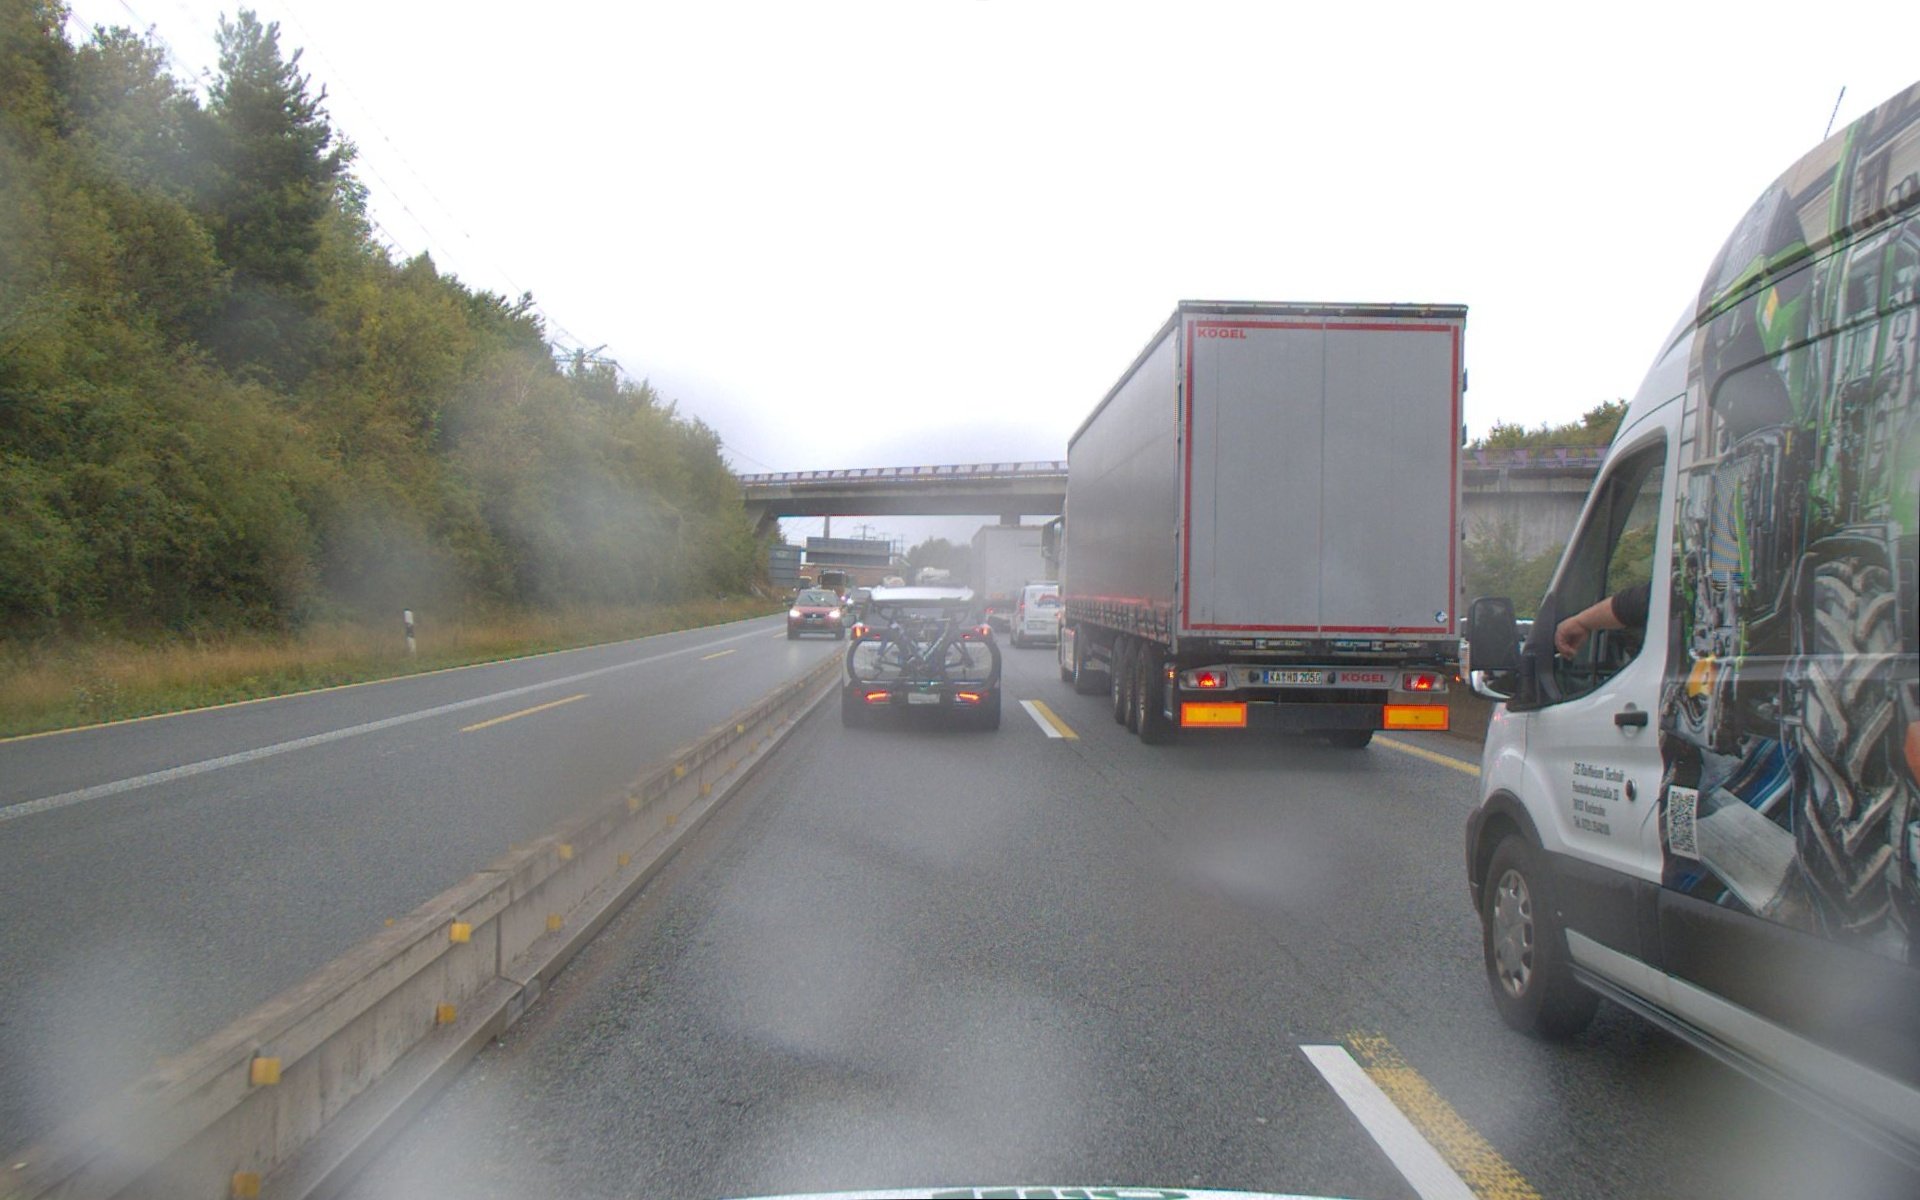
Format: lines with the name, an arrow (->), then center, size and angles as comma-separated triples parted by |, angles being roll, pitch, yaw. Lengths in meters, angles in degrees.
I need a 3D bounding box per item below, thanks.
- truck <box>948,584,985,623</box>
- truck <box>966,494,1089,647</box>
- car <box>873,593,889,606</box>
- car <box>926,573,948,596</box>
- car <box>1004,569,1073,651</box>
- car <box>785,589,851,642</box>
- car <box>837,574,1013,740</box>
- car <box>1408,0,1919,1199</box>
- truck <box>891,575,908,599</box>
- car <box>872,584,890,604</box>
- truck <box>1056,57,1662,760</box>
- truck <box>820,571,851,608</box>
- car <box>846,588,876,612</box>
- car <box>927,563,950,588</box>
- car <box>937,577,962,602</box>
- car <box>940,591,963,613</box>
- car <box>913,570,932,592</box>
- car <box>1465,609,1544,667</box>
truck -> 0.339, 0.204, 90.017 | 1.953, 2.049, 3.999 | 1, 0, -1
truck -> 2.625, -1.101, 73.302 | 4.646, 5.772, 20.375 | 1, 0, 0
car -> -8.490, -0.064, 178.455 | 1.652, 1.434, 3.928 | 1, 0, -3
car -> -2.042, -1.368, 148.046 | 1.953, 2.049, 3.999 | 1, 0, -1
car -> 2.208, 0.275, 47.507 | 1.636, 2.218, 4.533 | 1, 0, -1
car -> -4.442, 0.472, 52.176 | 1.758, 1.583, 3.999 | 1, 0, -1
car -> -0.343, 0.590, 19.214 | 1.773, 1.666, 4.635 | 1, 0, 0
car -> 2.954, 0.075, 3.982 | 2.100, 2.723, 6.117 | 1, 0, 0
truck -> -8.983, -1.928, 246.485 | 2.484, 3.411, 12.045 | 1, 0, -2
car -> -7.826, -0.593, 163.722 | 1.774, 1.856, 4.633 | 1, 0, -3
truck -> 3.898, -1.560, 23.883 | 3.898, 5.772, 20.375 | 1, 0, 0
truck -> -12.116, -0.985, 161.689 | 2.484, 3.411, 12.045 | 1, 0, -2
car -> -6.892, 0.016, 115.513 | 1.773, 1.661, 4.117 | 1, 0, 0
car -> -2.125, -2.337, 160.908 | 2.193, 2.347, 4.571 | 1, 0, -1
car -> -0.844, -0.838, 134.769 | 1.953, 2.049, 3.999 | 1, 0, -1
car -> -0.641, 0.155, 120.532 | 1.605, 1.524, 3.665 | 1, 0, -1
car -> -3.935, -1.986, 173.605 | 1.953, 2.164, 4.526 | 1, 0, -1
car -> 20.411, 1.391, 62.127 | 1.693, 2.094, 4.124 | 1, 0, 1
